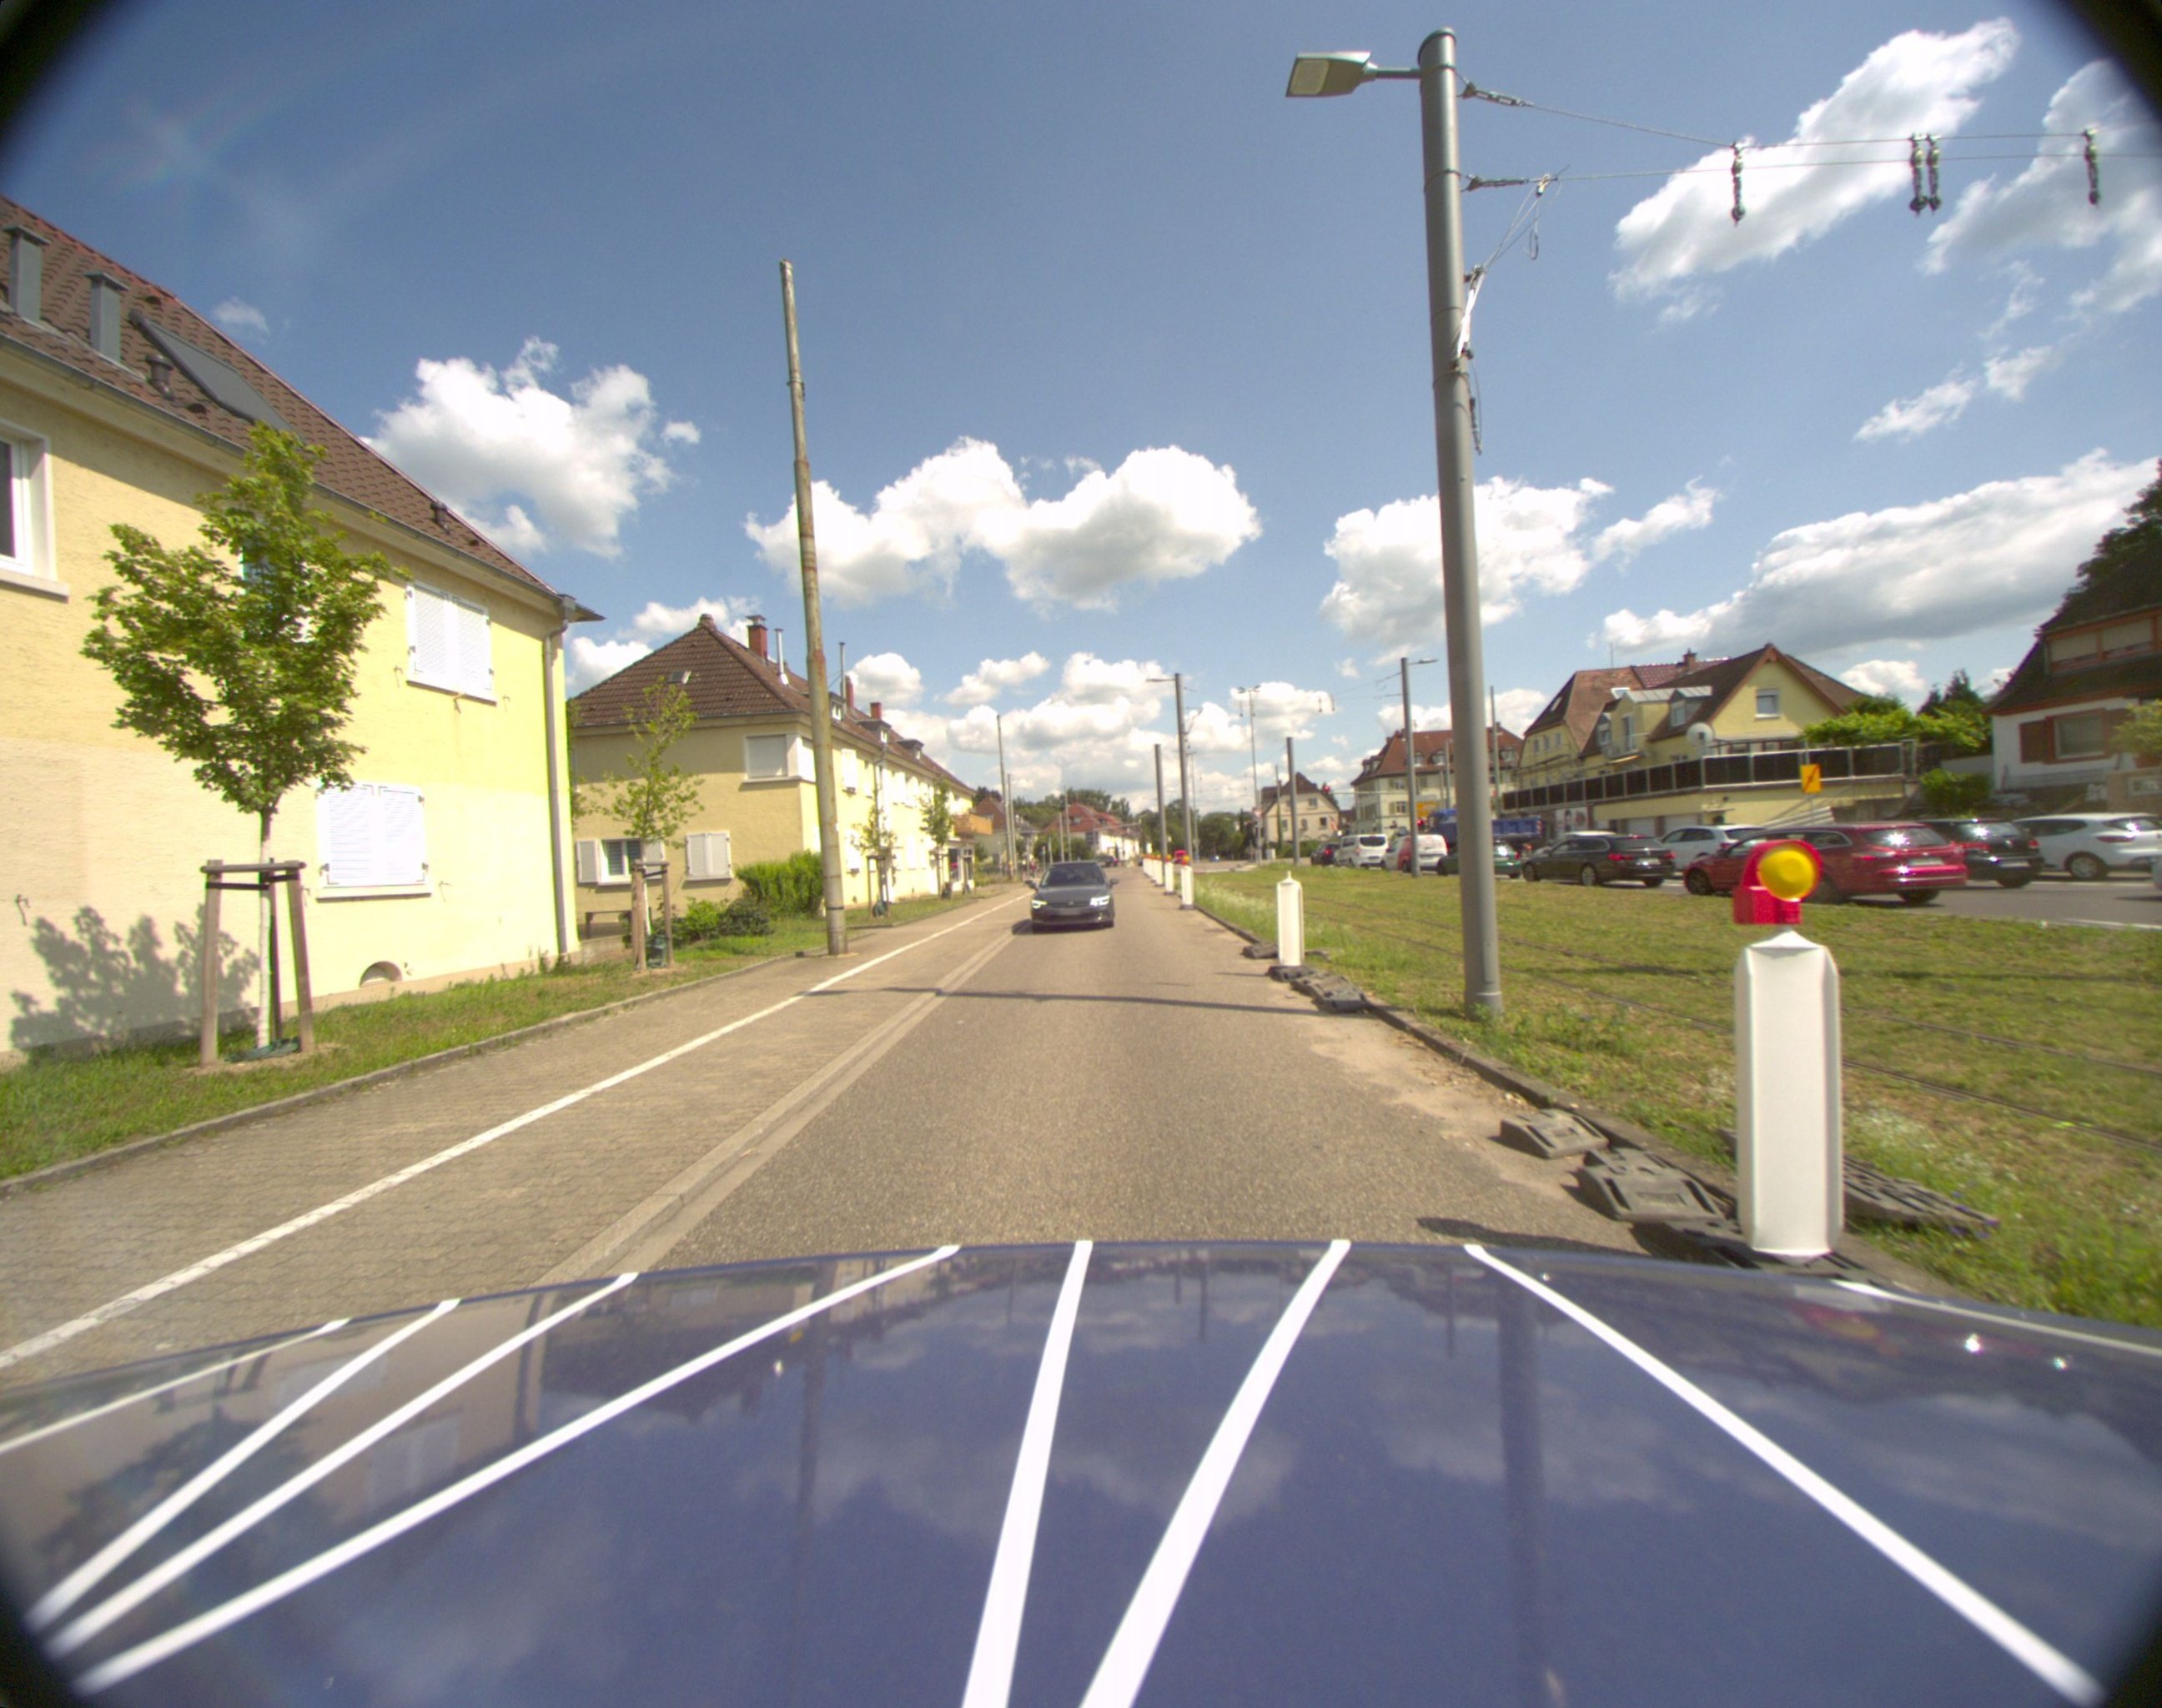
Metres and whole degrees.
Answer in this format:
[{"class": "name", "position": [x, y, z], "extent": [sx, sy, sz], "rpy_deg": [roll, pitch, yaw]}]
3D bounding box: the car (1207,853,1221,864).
[{"class": "car", "position": [23.545, 0.744, 134.230], "extent": [2.283, 1.861, 4.989], "rpy_deg": [-3, 0, 10]}]

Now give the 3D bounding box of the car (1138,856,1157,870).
[{"class": "car", "position": [8.238, 1.065, 94.424], "extent": [1.879, 1.543, 4.985], "rpy_deg": [-3, 0, 1]}]

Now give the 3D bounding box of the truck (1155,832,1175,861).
[{"class": "truck", "position": [16.282, -1.339, 146.650], "extent": [3.475, 5.153, 14.224], "rpy_deg": [-3, 0, 7]}]

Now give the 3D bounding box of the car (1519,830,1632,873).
[{"class": "car", "position": [20.022, -0.096, 31.019], "extent": [1.729, 1.553, 4.542], "rpy_deg": [-3, 0, 2]}]

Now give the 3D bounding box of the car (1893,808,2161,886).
[{"class": "car", "position": [22.360, -0.166, 17.907], "extent": [1.729, 1.553, 4.542], "rpy_deg": [-3, 0, 3]}]

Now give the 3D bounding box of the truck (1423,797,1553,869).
[{"class": "truck", "position": [20.348, -0.988, 38.647], "extent": [2.842, 3.135, 7.936], "rpy_deg": [-3, 0, 5]}]

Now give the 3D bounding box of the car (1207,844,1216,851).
[{"class": "car", "position": [31.939, -1.499, 186.319], "extent": [1.721, 1.582, 4.173], "rpy_deg": [-3, 0, 5]}]

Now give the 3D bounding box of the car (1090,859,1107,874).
[{"class": "car", "position": [2.028, 1.426, 89.814], "extent": [1.879, 1.543, 4.985], "rpy_deg": [-3, 0, 1]}]

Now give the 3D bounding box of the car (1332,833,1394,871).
[{"class": "car", "position": [15.941, -0.109, 43.161], "extent": [1.922, 1.953, 4.542], "rpy_deg": [-3, 0, 2]}]

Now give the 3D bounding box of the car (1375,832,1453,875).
[{"class": "car", "position": [15.529, -0.025, 35.691], "extent": [1.729, 1.843, 4.542], "rpy_deg": [-3, 0, 2]}]

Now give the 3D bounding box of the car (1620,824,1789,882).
[{"class": "car", "position": [19.365, -0.039, 23.909], "extent": [1.729, 1.553, 4.542], "rpy_deg": [-3, 0, 3]}]

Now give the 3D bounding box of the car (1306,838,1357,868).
[{"class": "car", "position": [16.311, -0.061, 49.693], "extent": [1.922, 1.770, 4.542], "rpy_deg": [-3, 0, 2]}]

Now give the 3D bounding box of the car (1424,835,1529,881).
[{"class": "car", "position": [14.987, 0.132, 29.061], "extent": [1.729, 1.553, 4.542], "rpy_deg": [-3, 0, 2]}]

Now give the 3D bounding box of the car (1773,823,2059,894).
[{"class": "car", "position": [18.495, 0.079, 17.228], "extent": [1.729, 1.327, 4.543], "rpy_deg": [-3, 0, 5]}]

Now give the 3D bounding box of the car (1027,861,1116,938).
[{"class": "car", "position": [-0.089, 0.945, 17.772], "extent": [1.742, 1.513, 4.702], "rpy_deg": [-1, 0, 3]}]

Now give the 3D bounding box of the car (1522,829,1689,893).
[{"class": "car", "position": [14.758, 0.165, 21.771], "extent": [1.729, 1.553, 4.645], "rpy_deg": [-3, 0, 3]}]

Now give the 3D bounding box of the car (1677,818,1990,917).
[{"class": "car", "position": [14.233, 0.215, 14.849], "extent": [1.729, 1.553, 4.542], "rpy_deg": [-3, 0, 3]}]

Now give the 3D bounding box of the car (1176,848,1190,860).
[{"class": "car", "position": [17.707, -0.005, 132.520], "extent": [2.283, 1.861, 4.988], "rpy_deg": [-3, 0, 7]}]

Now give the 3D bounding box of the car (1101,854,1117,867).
[{"class": "car", "position": [3.468, 0.764, 95.576], "extent": [1.879, 1.543, 4.985], "rpy_deg": [-3, 0, 1]}]

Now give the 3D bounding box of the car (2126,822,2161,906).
[{"class": "car", "position": [17.894, 0.133, 10.177], "extent": [1.729, 1.327, 4.543], "rpy_deg": [-3, 0, 5]}]
